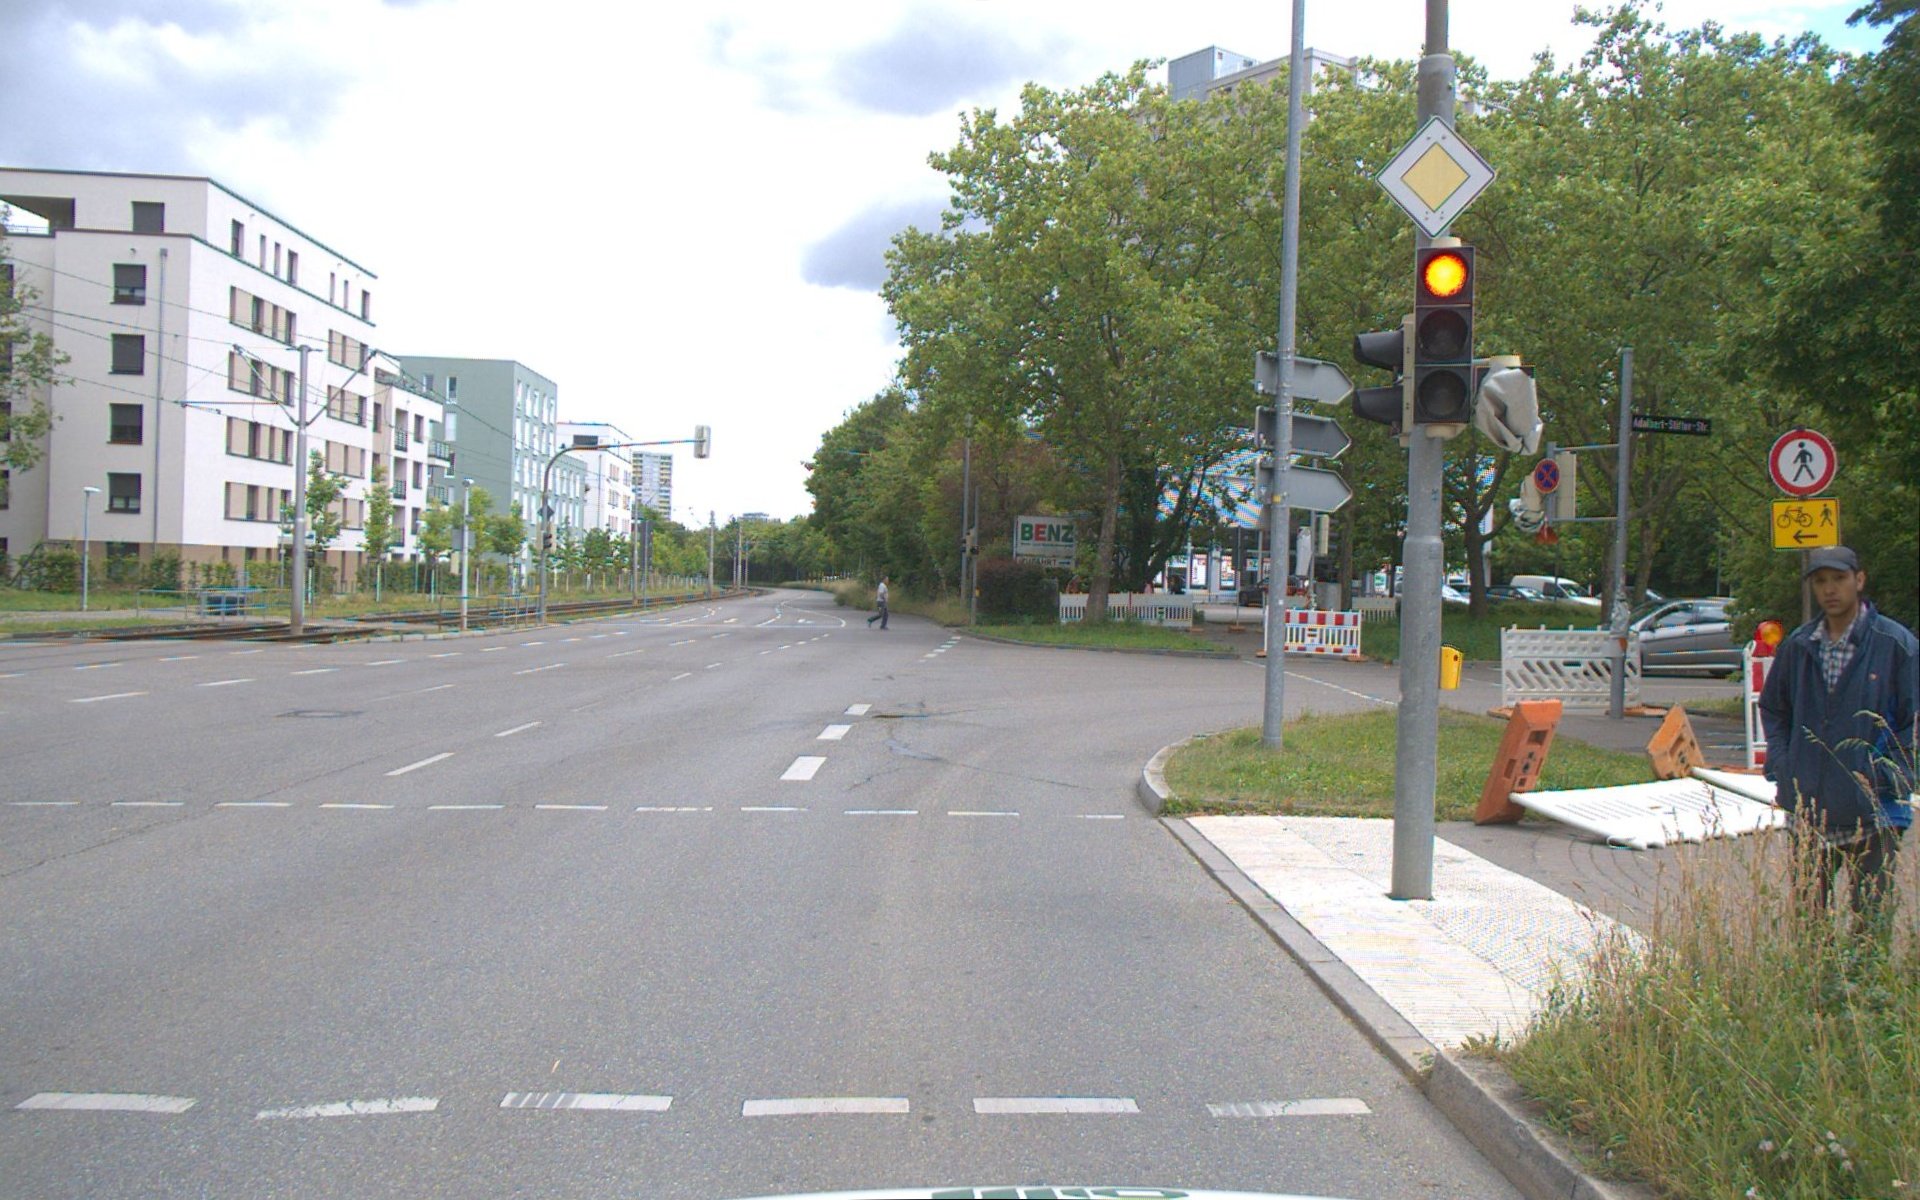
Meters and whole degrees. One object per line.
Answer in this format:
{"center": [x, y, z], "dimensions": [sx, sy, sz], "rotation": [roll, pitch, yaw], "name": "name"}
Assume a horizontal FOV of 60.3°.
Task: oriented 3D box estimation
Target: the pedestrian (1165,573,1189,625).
{"center": [6.455, -0.038, 49.172], "dimensions": [0.682, 1.515, 0.721], "rotation": [1, -1, 9], "name": "pedestrian"}

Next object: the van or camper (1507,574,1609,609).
{"center": [24.185, -0.340, 66.975], "dimensions": [1.499, 1.380, 3.732], "rotation": [1, 0, -33], "name": "van or camper"}

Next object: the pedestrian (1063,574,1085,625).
{"center": [3.566, -0.017, 51.923], "dimensions": [0.639, 1.565, 0.773], "rotation": [1, -1, 2], "name": "pedestrian"}

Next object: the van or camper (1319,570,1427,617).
{"center": [15.492, -0.262, 62.233], "dimensions": [1.819, 1.713, 3.964], "rotation": [0, 1, -28], "name": "van or camper"}

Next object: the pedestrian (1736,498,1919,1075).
{"center": [3.076, 0.569, 5.559], "dimensions": [0.713, 1.770, 0.953], "rotation": [1, 0, 33], "name": "pedestrian"}

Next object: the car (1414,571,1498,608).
{"center": [24.051, -0.508, 80.254], "dimensions": [1.650, 1.663, 3.783], "rotation": [1, 1, -31], "name": "car"}

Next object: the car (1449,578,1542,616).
{"center": [21.097, -0.126, 65.255], "dimensions": [1.464, 1.429, 3.375], "rotation": [1, 0, -30], "name": "car"}

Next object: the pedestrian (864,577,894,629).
{"center": [-2.558, 0.093, 52.166], "dimensions": [0.830, 1.614, 0.796], "rotation": [1, -1, 3], "name": "pedestrian"}

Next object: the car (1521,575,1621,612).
{"center": [25.541, -0.257, 69.253], "dimensions": [1.465, 1.491, 3.851], "rotation": [1, 0, -31], "name": "car"}

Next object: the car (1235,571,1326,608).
{"center": [14.061, -0.451, 72.729], "dimensions": [1.708, 1.526, 4.232], "rotation": [1, 0, -27], "name": "car"}

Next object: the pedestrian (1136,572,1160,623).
{"center": [5.635, -0.068, 49.557], "dimensions": [0.682, 1.515, 0.688], "rotation": [1, -1, 6], "name": "pedestrian"}

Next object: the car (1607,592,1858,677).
{"center": [15.743, 0.697, 33.862], "dimensions": [4.307, 1.614, 1.772], "rotation": [1, 0, 0], "name": "car"}

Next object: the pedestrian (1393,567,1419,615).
{"center": [18.932, -0.370, 70.232], "dimensions": [0.789, 2.037, 0.852], "rotation": [1, -1, -5], "name": "pedestrian"}
